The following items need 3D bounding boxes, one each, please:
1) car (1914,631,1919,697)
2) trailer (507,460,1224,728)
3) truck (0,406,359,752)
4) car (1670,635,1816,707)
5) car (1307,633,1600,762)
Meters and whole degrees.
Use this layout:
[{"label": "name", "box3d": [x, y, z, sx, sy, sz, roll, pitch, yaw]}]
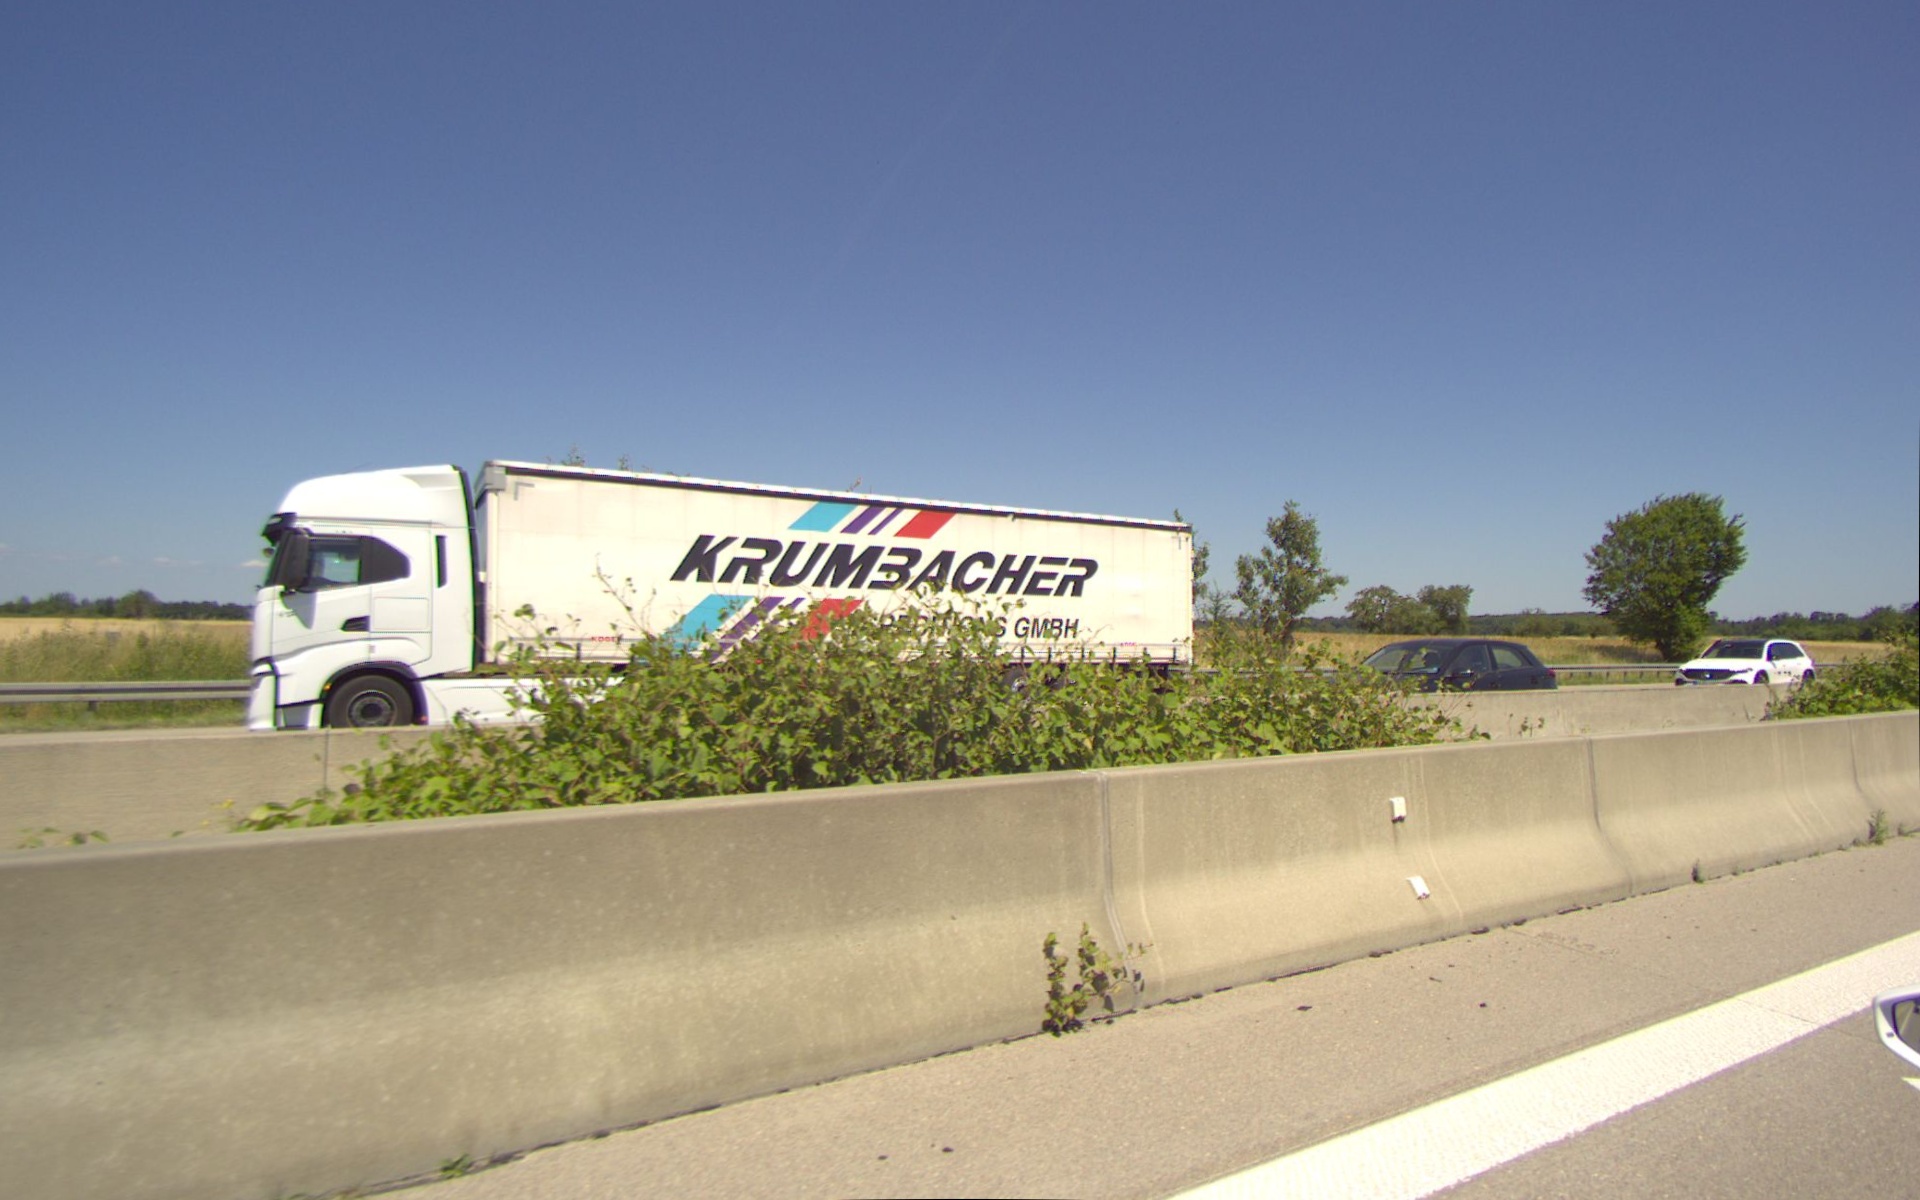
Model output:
[{"label": "car", "box3d": [26.105, 1.638, 25.141, 5.015, 1.629, 1.914, 1, 0, -30]}, {"label": "trailer", "box3d": [-0.990, 0.054, 19.096, 13.667, 3.853, 2.756, 2, 0, -31]}, {"label": "truck", "box3d": [-10.482, -0.228, 13.105, 4.399, 3.891, 2.757, 1, 0, -30]}, {"label": "car", "box3d": [21.369, 1.872, 27.364, 4.582, 1.746, 1.764, 1, 0, -33]}, {"label": "car", "box3d": [6.958, 1.263, 14.079, 4.069, 1.504, 1.719, 1, 0, -30]}]
